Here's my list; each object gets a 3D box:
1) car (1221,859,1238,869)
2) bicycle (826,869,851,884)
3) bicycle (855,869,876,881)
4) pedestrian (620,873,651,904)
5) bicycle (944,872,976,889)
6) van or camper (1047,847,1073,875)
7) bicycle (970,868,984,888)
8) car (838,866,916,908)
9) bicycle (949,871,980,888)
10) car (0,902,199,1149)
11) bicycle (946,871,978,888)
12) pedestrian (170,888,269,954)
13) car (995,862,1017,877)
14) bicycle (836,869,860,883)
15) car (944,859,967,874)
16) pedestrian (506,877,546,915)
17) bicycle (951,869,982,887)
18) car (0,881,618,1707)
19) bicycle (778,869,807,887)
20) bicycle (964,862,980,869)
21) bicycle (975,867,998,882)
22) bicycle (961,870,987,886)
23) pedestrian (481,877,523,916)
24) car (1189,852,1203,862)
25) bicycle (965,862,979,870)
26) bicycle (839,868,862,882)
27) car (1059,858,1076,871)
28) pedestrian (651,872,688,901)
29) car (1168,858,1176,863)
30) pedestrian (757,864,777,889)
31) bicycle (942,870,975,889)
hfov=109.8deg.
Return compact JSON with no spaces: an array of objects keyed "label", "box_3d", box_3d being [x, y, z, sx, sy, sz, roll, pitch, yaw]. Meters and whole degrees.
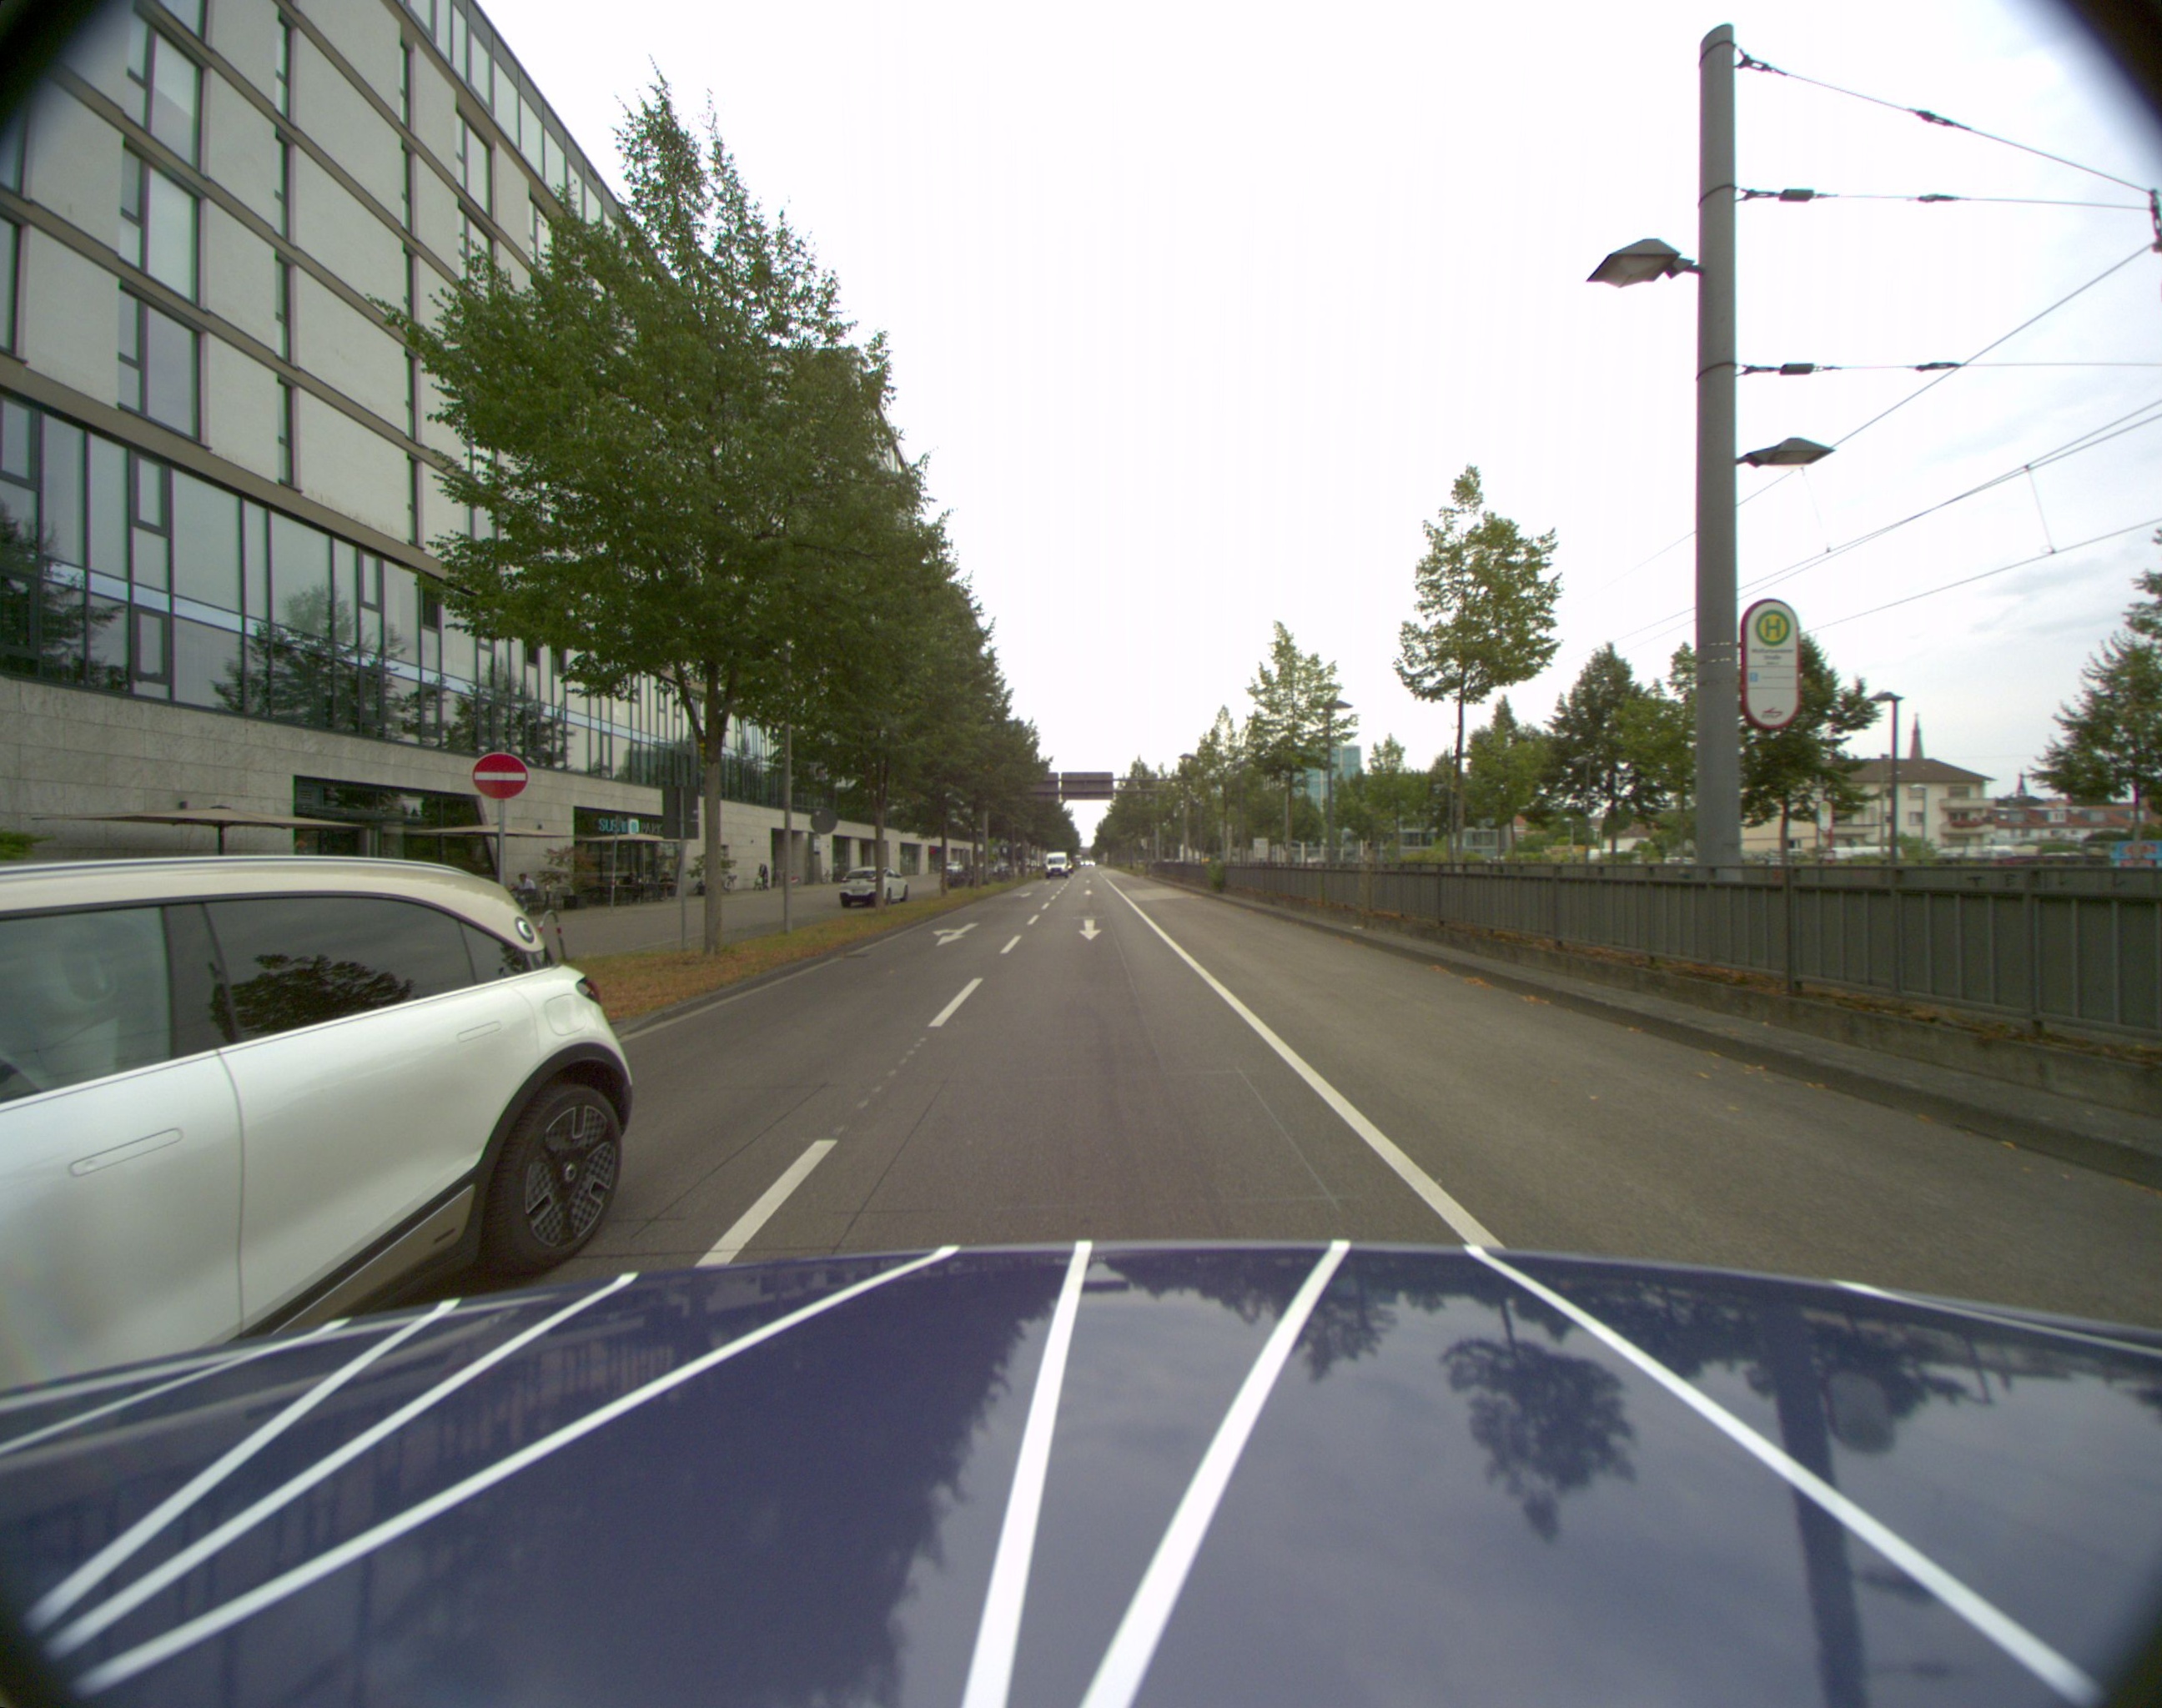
[{"label":"car","box_3d":[24.399,1.620,124.956,1.832,1.646,4.691,0,0,-1]},{"label":"bicycle","box_3d":[-17.117,1.579,53.670,1.602,1.020,0.533,0,0,-3]},{"label":"bicycle","box_3d":[-17.471,1.667,61.511,1.533,0.947,0.533,-1,0,-3]},{"label":"pedestrian","box_3d":[-17.901,1.372,30.530,0.719,1.185,0.760,-1,0,23]},{"label":"bicycle","box_3d":[-7.638,1.658,48.022,1.865,0.945,0.501,-4,0,-2]},{"label":"van or camper","box_3d":[-1.934,0.648,72.246,2.184,2.493,6.339,-2,0,0]},{"label":"bicycle","box_3d":[-6.076,1.398,44.592,0.712,1.109,2.202,-4,0,-7]},{"label":"car","box_3d":[-8.212,1.285,31.029,1.943,1.543,4.594,-1,-1,0]},{"label":"bicycle","box_3d":[-7.581,1.652,49.512,1.865,0.945,0.612,-4,0,-2]},{"label":"car","box_3d":[-8.286,1.198,5.040,1.951,1.467,4.858,-1,0,-34]},{"label":"bicycle","box_3d":[-7.622,1.656,48.770,1.865,0.945,0.653,-4,0,-2]},{"label":"pedestrian","box_3d":[-17.148,1.315,15.148,0.899,1.221,0.951,-1,0,6]},{"label":"car","box_3d":[-7.603,1.575,77.463,1.765,1.413,4.183,-1,0,1]},{"label":"bicycle","box_3d":[-17.143,1.595,55.820,1.602,1.020,0.533,0,0,-3]},{"label":"car","box_3d":[-14.037,1.397,85.245,1.862,1.579,4.240,2,0,1]},{"label":"pedestrian","box_3d":[-18.125,1.366,24.819,0.720,1.185,0.759,-1,0,2]},{"label":"bicycle","box_3d":[-7.565,1.599,50.204,1.935,1.059,0.705,-4,0,-2]},{"label":"car","box_3d":[-2.987,0.964,1.359,1.783,1.646,4.023,-3,0,0]},{"label":"bicycle","box_3d":[-17.630,1.457,46.456,1.605,1.020,0.609,0,0,-26]},{"label":"bicycle","box_3d":[-17.563,1.888,122.566,2.426,1.170,1.202,-1,0,-7]},{"label":"bicycle","box_3d":[-7.472,1.581,60.035,1.672,1.084,0.525,-3,0,-3]},{"label":"bicycle","box_3d":[-7.437,1.664,52.919,1.749,0.968,0.609,-4,0,-8]},{"label":"pedestrian","box_3d":[-18.147,1.319,23.843,0.720,1.185,0.759,-1,0,0]},{"label":"car","box_3d":[22.430,0.603,148.114,1.998,1.933,5.096,-1,0,0]},{"label":"bicycle","box_3d":[-17.370,1.883,121.338,2.238,1.170,0.976,-1,0,-7]},{"label":"bicycle","box_3d":[-17.425,1.593,57.414,1.533,1.020,0.533,-1,0,-3]},{"label":"car","box_3d":[-1.724,1.343,96.196,1.973,1.528,4.140,-1,0,1]},{"label":"pedestrian","box_3d":[-17.243,1.363,31.848,0.773,1.185,1.107,-1,0,16]},{"label":"car","box_3d":[25.628,1.790,214.066,1.752,1.448,3.865,-1,0,2]},{"label":"pedestrian","box_3d":[-17.660,1.274,42.715,0.758,1.398,0.721,-1,0,8]},{"label":"bicycle","box_3d":[-7.624,1.588,47.355,1.865,0.989,0.574,-4,0,-2]}]
